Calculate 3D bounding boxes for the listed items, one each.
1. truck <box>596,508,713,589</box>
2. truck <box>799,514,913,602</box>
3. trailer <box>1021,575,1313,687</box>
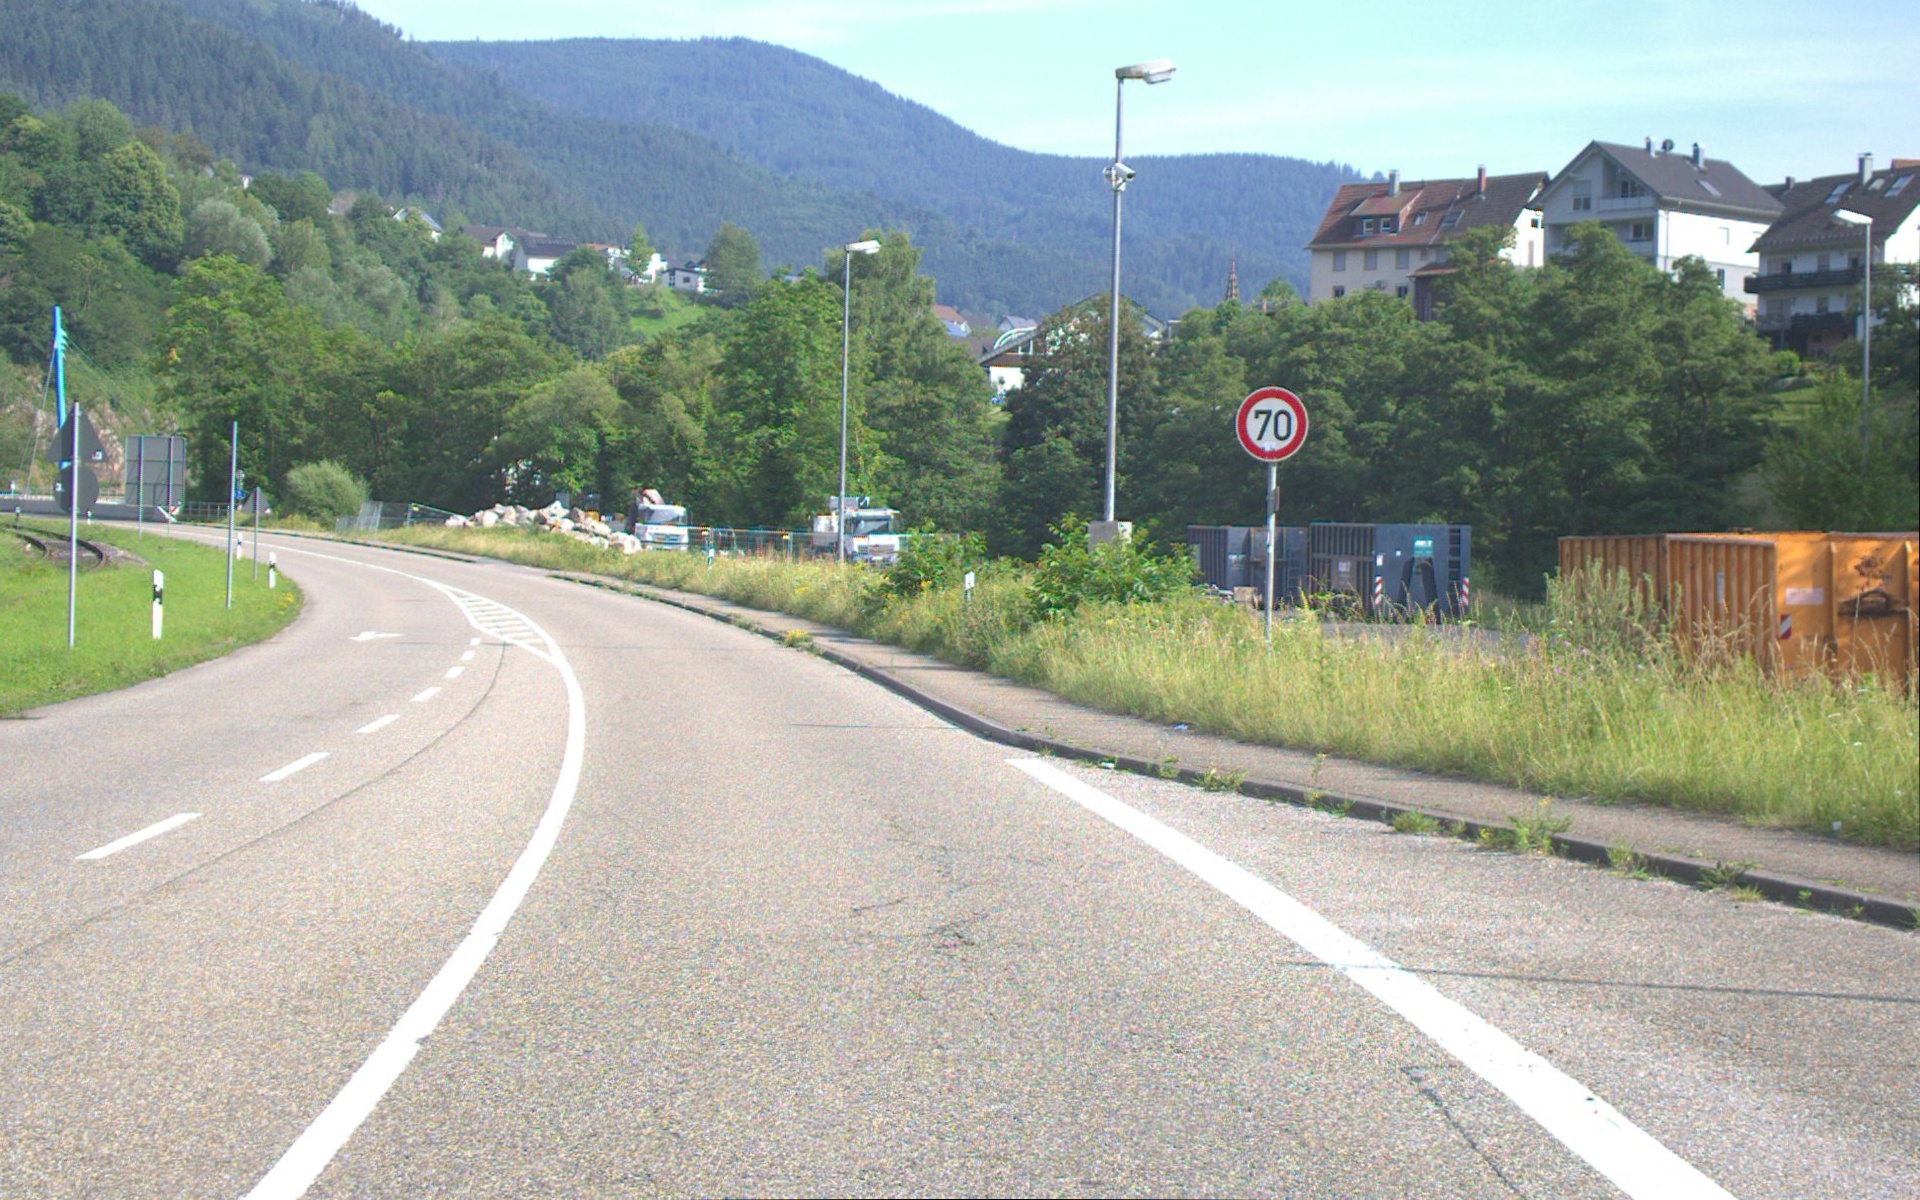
[{"bbox_3d":[-15.324,-2.631,171.789,3.102,3.769,8.647,2,1,-24],"label":"truck"},{"bbox_3d":[-4.762,-1.939,155.659,3.102,3.769,8.647,2,1,-15],"label":"truck"},{"bbox_3d":[3.313,0.448,58.259,2.791,1.469,9.890,4,1,-9],"label":"trailer"}]
